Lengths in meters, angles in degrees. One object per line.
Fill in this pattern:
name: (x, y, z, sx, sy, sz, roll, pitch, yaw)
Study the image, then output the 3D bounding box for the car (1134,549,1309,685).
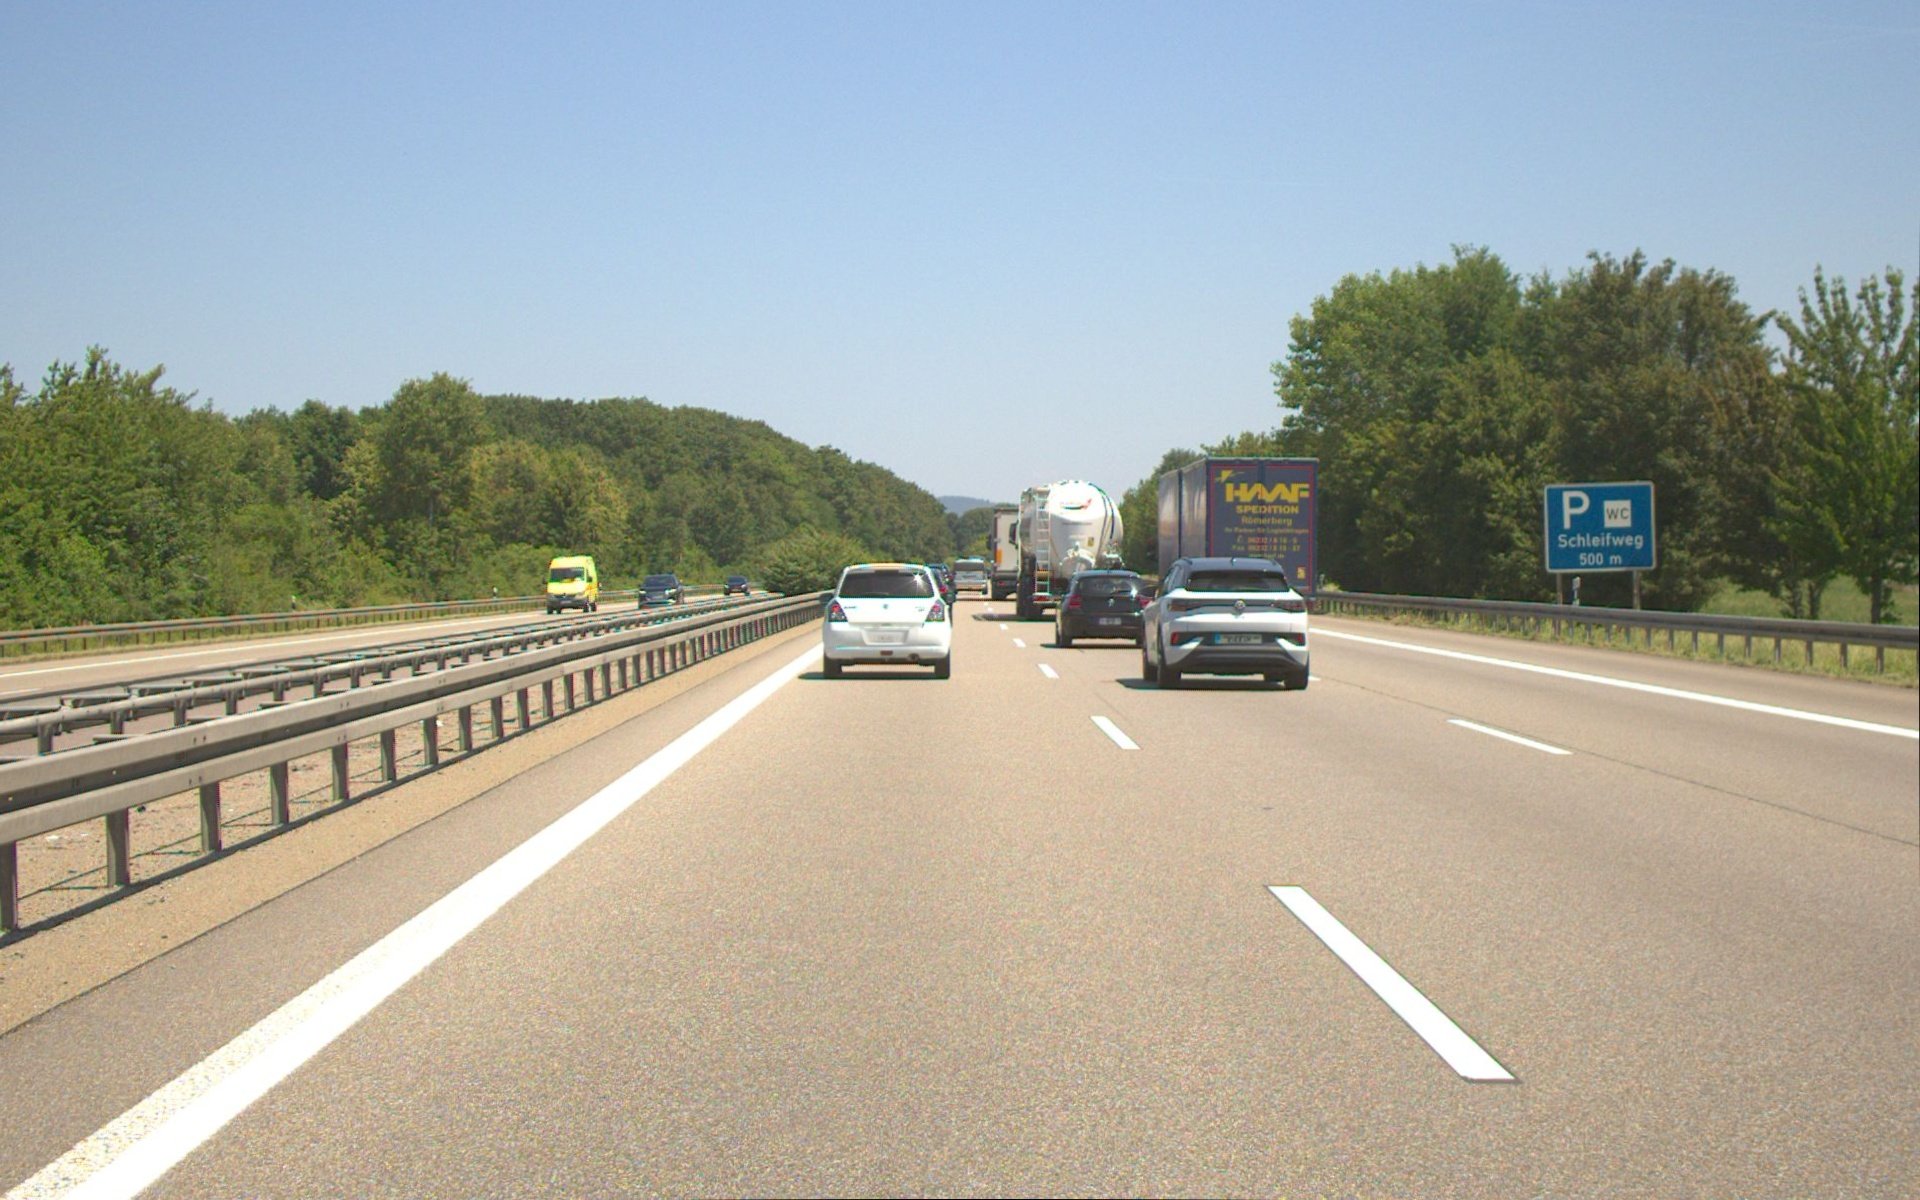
car: (3.236, 0.170, 43.235, 1.802, 1.597, 4.381, 1, 1, 0)

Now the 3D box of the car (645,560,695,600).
car: (-13.093, -0.912, 155.442, 1.868, 1.684, 4.627, -2, 1, 0)

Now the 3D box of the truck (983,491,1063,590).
truck: (2.751, -2.630, 153.810, 3.394, 4.199, 12.083, 1, 1, 0)

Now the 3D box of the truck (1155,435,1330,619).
truck: (6.834, -1.761, 85.560, 3.109, 4.124, 15.511, 1, 1, 0)

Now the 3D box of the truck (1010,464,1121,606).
truck: (3.099, -1.939, 103.050, 2.912, 4.065, 7.195, 1, 1, -1)

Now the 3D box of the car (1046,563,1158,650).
car: (2.596, 0.103, 63.723, 1.850, 1.518, 3.957, 1, 1, 0)

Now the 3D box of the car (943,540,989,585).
car: (0.337, -2.060, 187.513, 2.475, 2.346, 5.181, 1, 1, 0)

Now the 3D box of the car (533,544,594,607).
car: (-18.540, -1.166, 160.957, 2.165, 2.770, 5.800, -2, 1, -1)

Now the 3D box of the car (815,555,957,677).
car: (-0.989, 0.184, 46.096, 1.799, 1.546, 3.610, 1, 1, -1)

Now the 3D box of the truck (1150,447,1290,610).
truck: (6.863, -1.878, 91.774, 3.109, 4.124, 8.056, 1, 1, 0)

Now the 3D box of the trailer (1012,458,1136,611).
trailer: (3.151, -1.831, 98.392, 2.911, 4.055, 12.419, 1, 1, -1)
